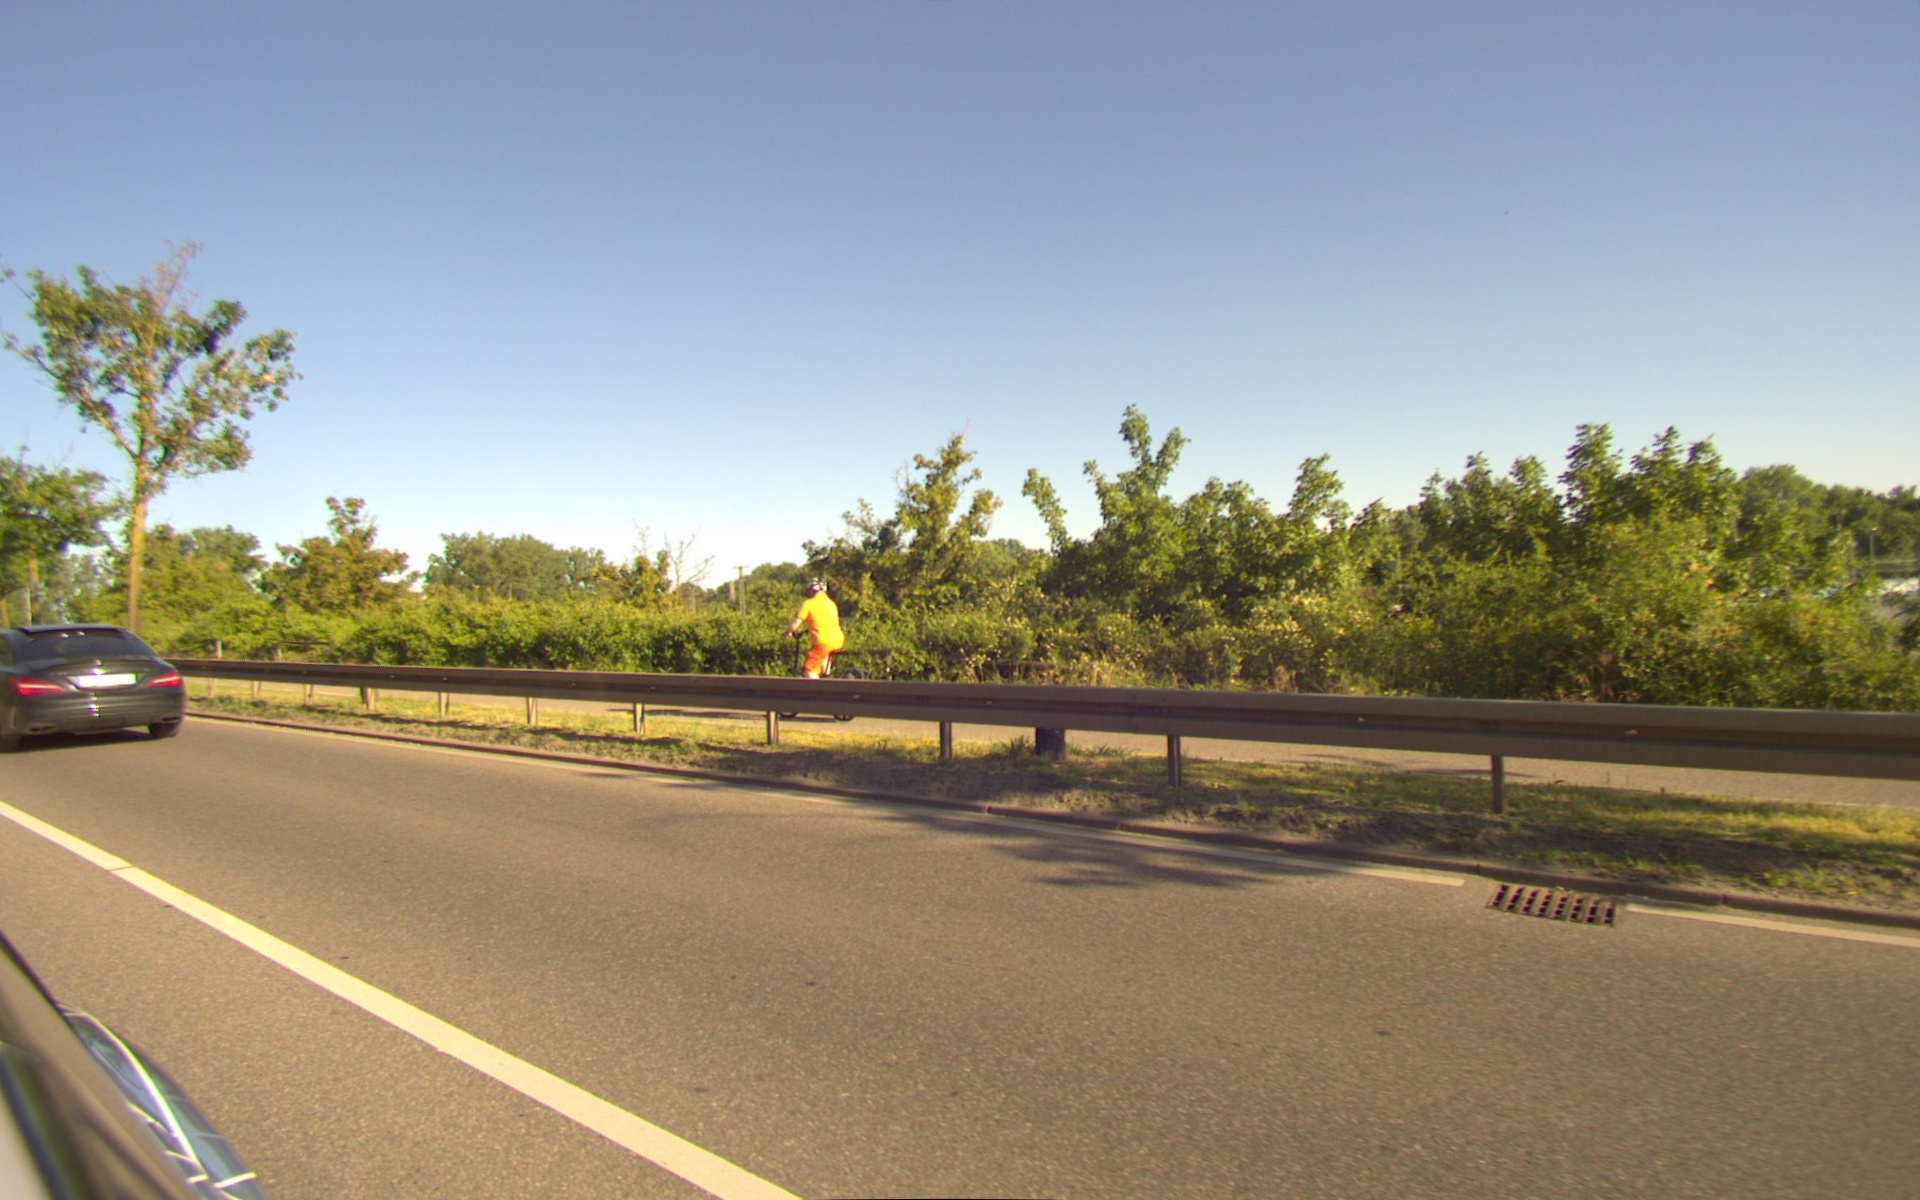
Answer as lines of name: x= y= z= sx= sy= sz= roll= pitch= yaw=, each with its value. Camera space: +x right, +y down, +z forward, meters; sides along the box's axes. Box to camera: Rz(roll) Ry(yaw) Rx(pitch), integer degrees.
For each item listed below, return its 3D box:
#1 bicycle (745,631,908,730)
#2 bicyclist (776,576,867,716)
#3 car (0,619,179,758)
bicycle: x=-1.656 y=0.939 z=12.296 sx=2.104 sy=1.103 sz=0.654 roll=-2 pitch=-1 yaw=37
bicyclist: x=-1.687 y=0.549 z=12.322 sx=0.872 sy=1.635 sz=0.645 roll=-2 pitch=-1 yaw=37
car: x=-11.391 y=0.999 z=12.620 sx=4.211 sy=1.452 sz=1.675 roll=-2 pitch=-1 yaw=39
